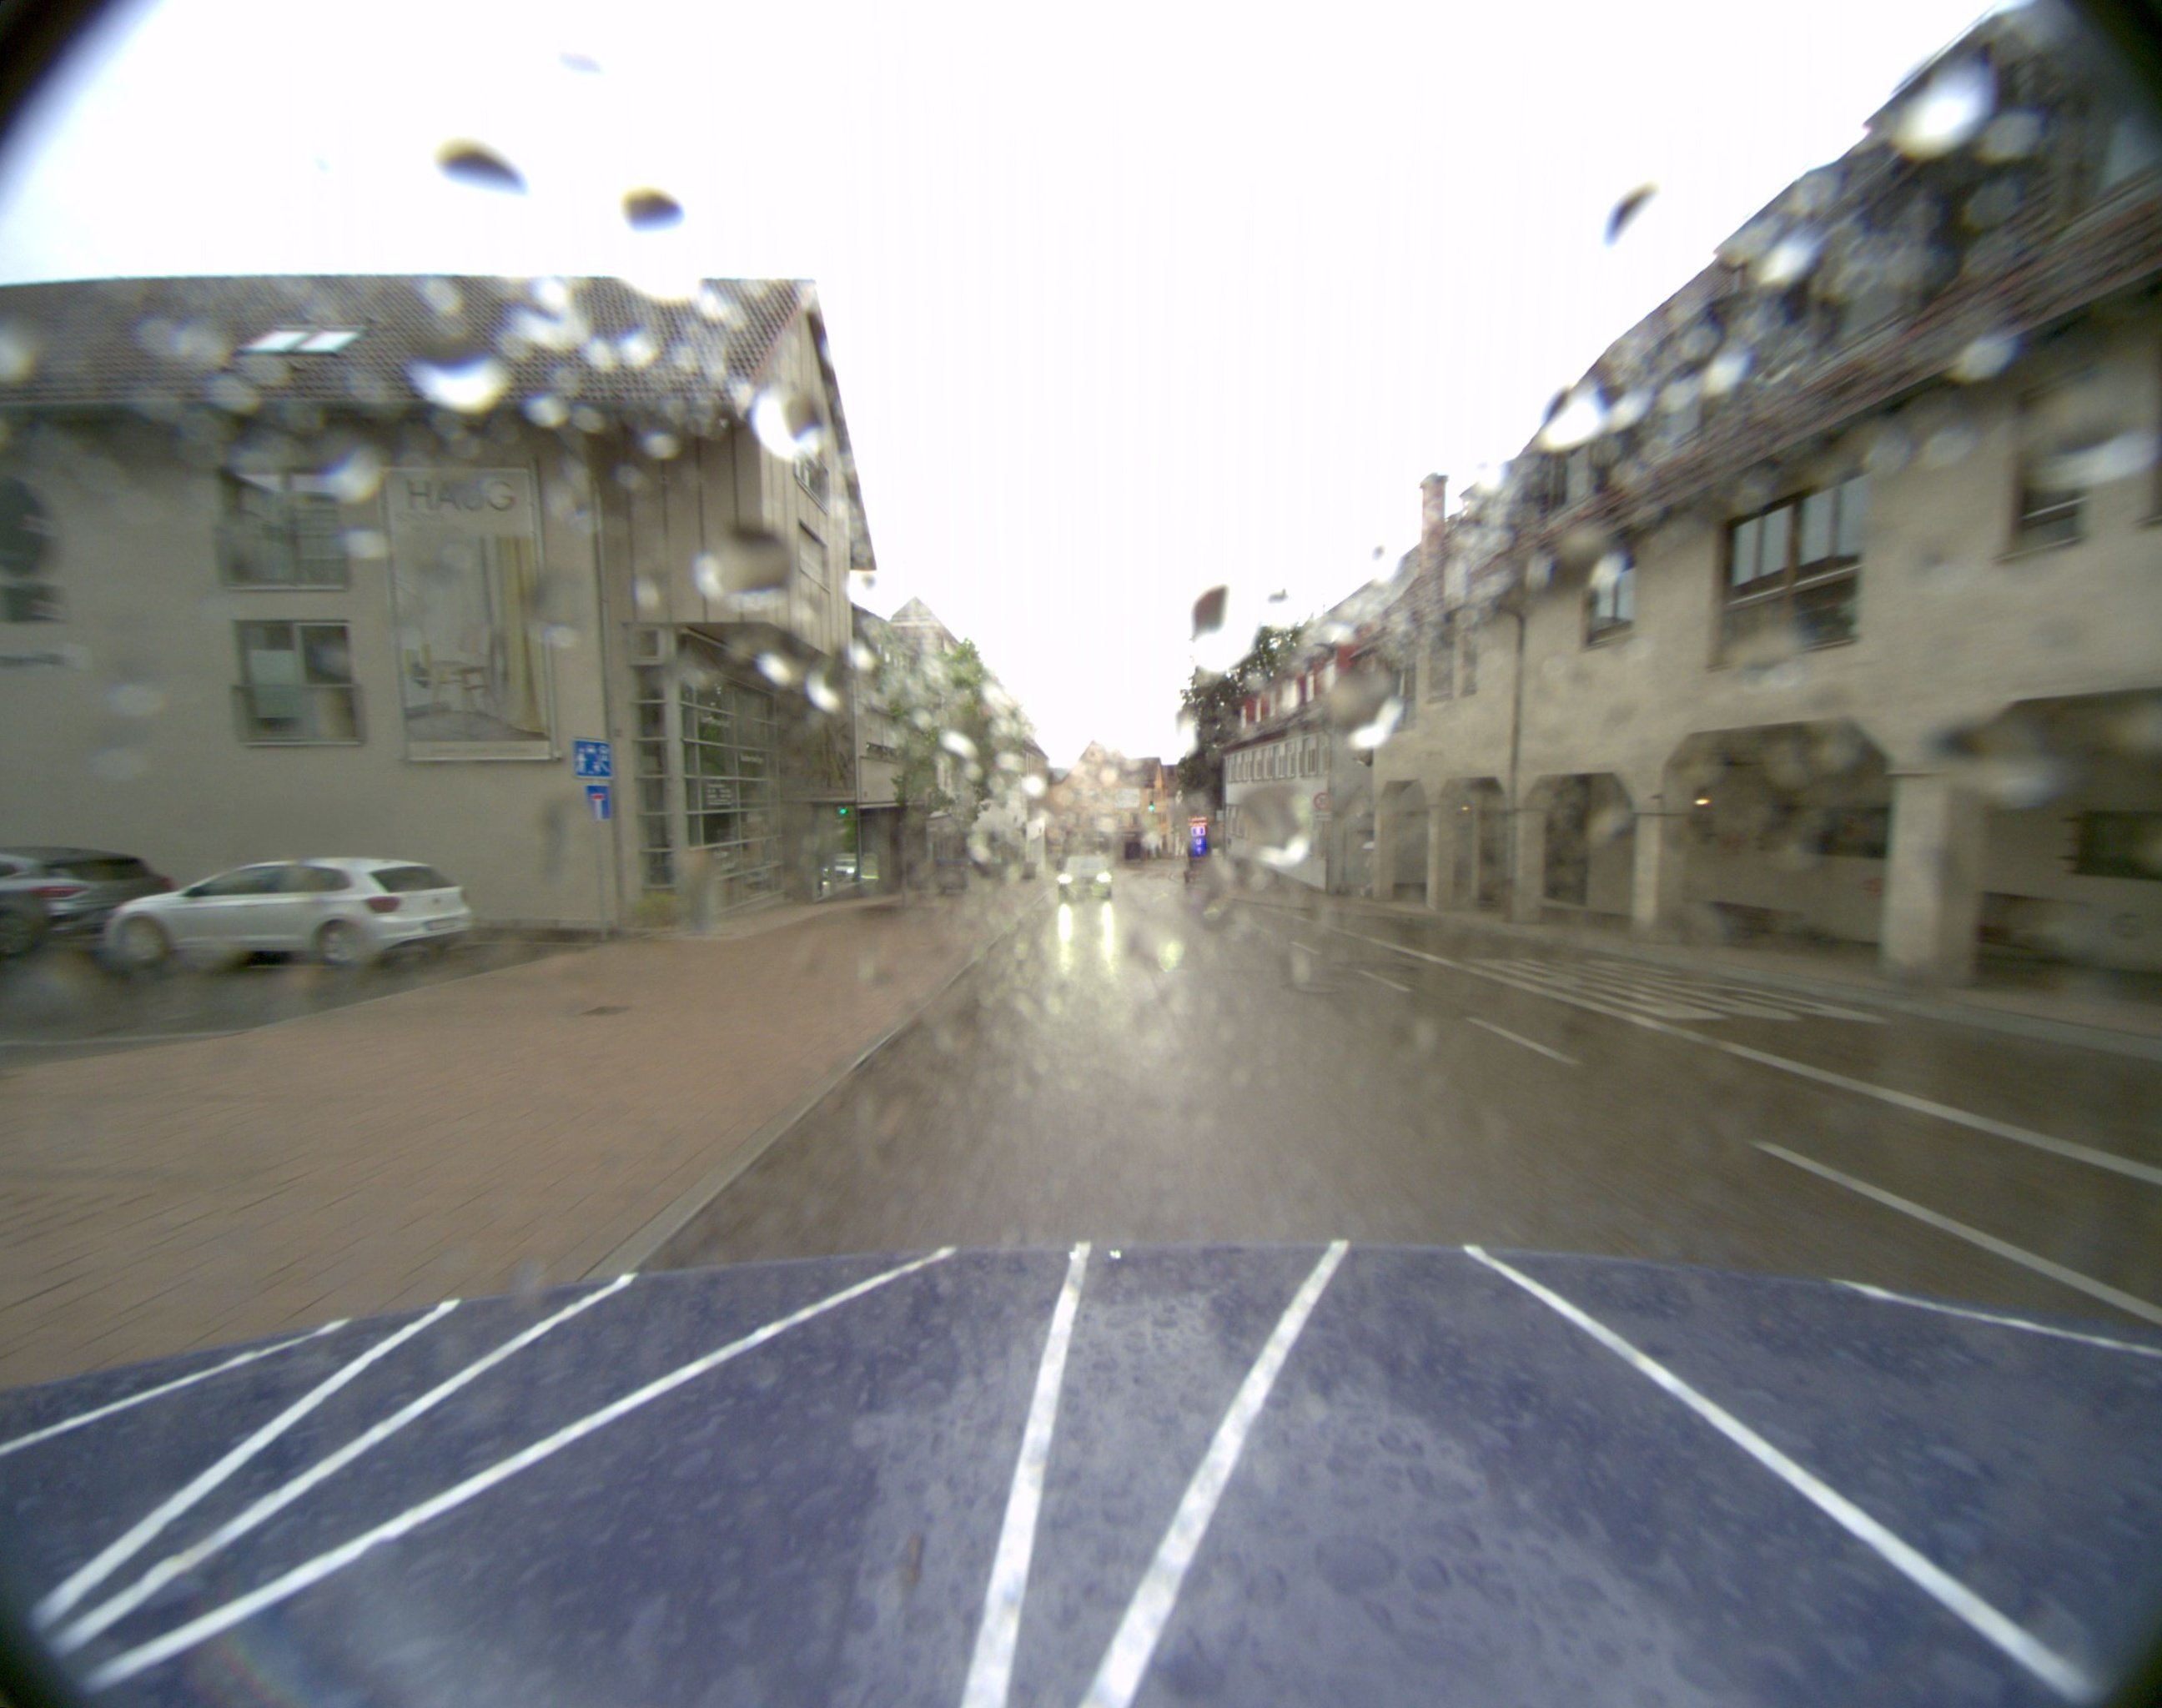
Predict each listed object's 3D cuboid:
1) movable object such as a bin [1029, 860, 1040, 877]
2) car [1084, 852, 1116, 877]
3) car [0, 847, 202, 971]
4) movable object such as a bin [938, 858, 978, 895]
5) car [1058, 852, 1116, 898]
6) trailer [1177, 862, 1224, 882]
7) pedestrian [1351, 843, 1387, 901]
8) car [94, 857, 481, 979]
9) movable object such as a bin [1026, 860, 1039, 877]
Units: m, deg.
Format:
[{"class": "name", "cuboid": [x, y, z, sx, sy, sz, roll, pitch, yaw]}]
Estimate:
[{"class": "movable object such as a bin", "cuboid": [-2.813, 0.906, 46.384, 0.596, 1.022, 0.476, 2, 1, 2]}, {"class": "car", "cuboid": [1.275, 0.652, 50.089, 1.967, 1.598, 4.383, -1, 0, 2]}, {"class": "car", "cuboid": [-15.860, 0.727, 11.181, 3.772, 1.534, 1.704, 3, 0, -1]}, {"class": "movable object such as a bin", "cuboid": [-4.582, 0.820, 28.350, 1.237, 1.327, 1.172, 1, 0, 2]}, {"class": "car", "cuboid": [0.253, 0.732, 28.631, 1.967, 1.549, 4.622, -1, 0, 1]}, {"class": "trailer", "cuboid": [6.478, 0.956, 41.584, 1.998, 0.900, 4.477, -2, 0, 3]}, {"class": "pedestrian", "cuboid": [8.894, 0.557, 23.459, 0.691, 1.730, 0.733, -3, 1, -40]}, {"class": "car", "cuboid": [-11.321, 0.871, 11.057, 3.772, 1.446, 1.743, 2, 2, -1]}, {"class": "movable object such as a bin", "cuboid": [-2.905, 0.874, 45.304, 0.571, 1.022, 0.467, 1, 1, -40]}]
